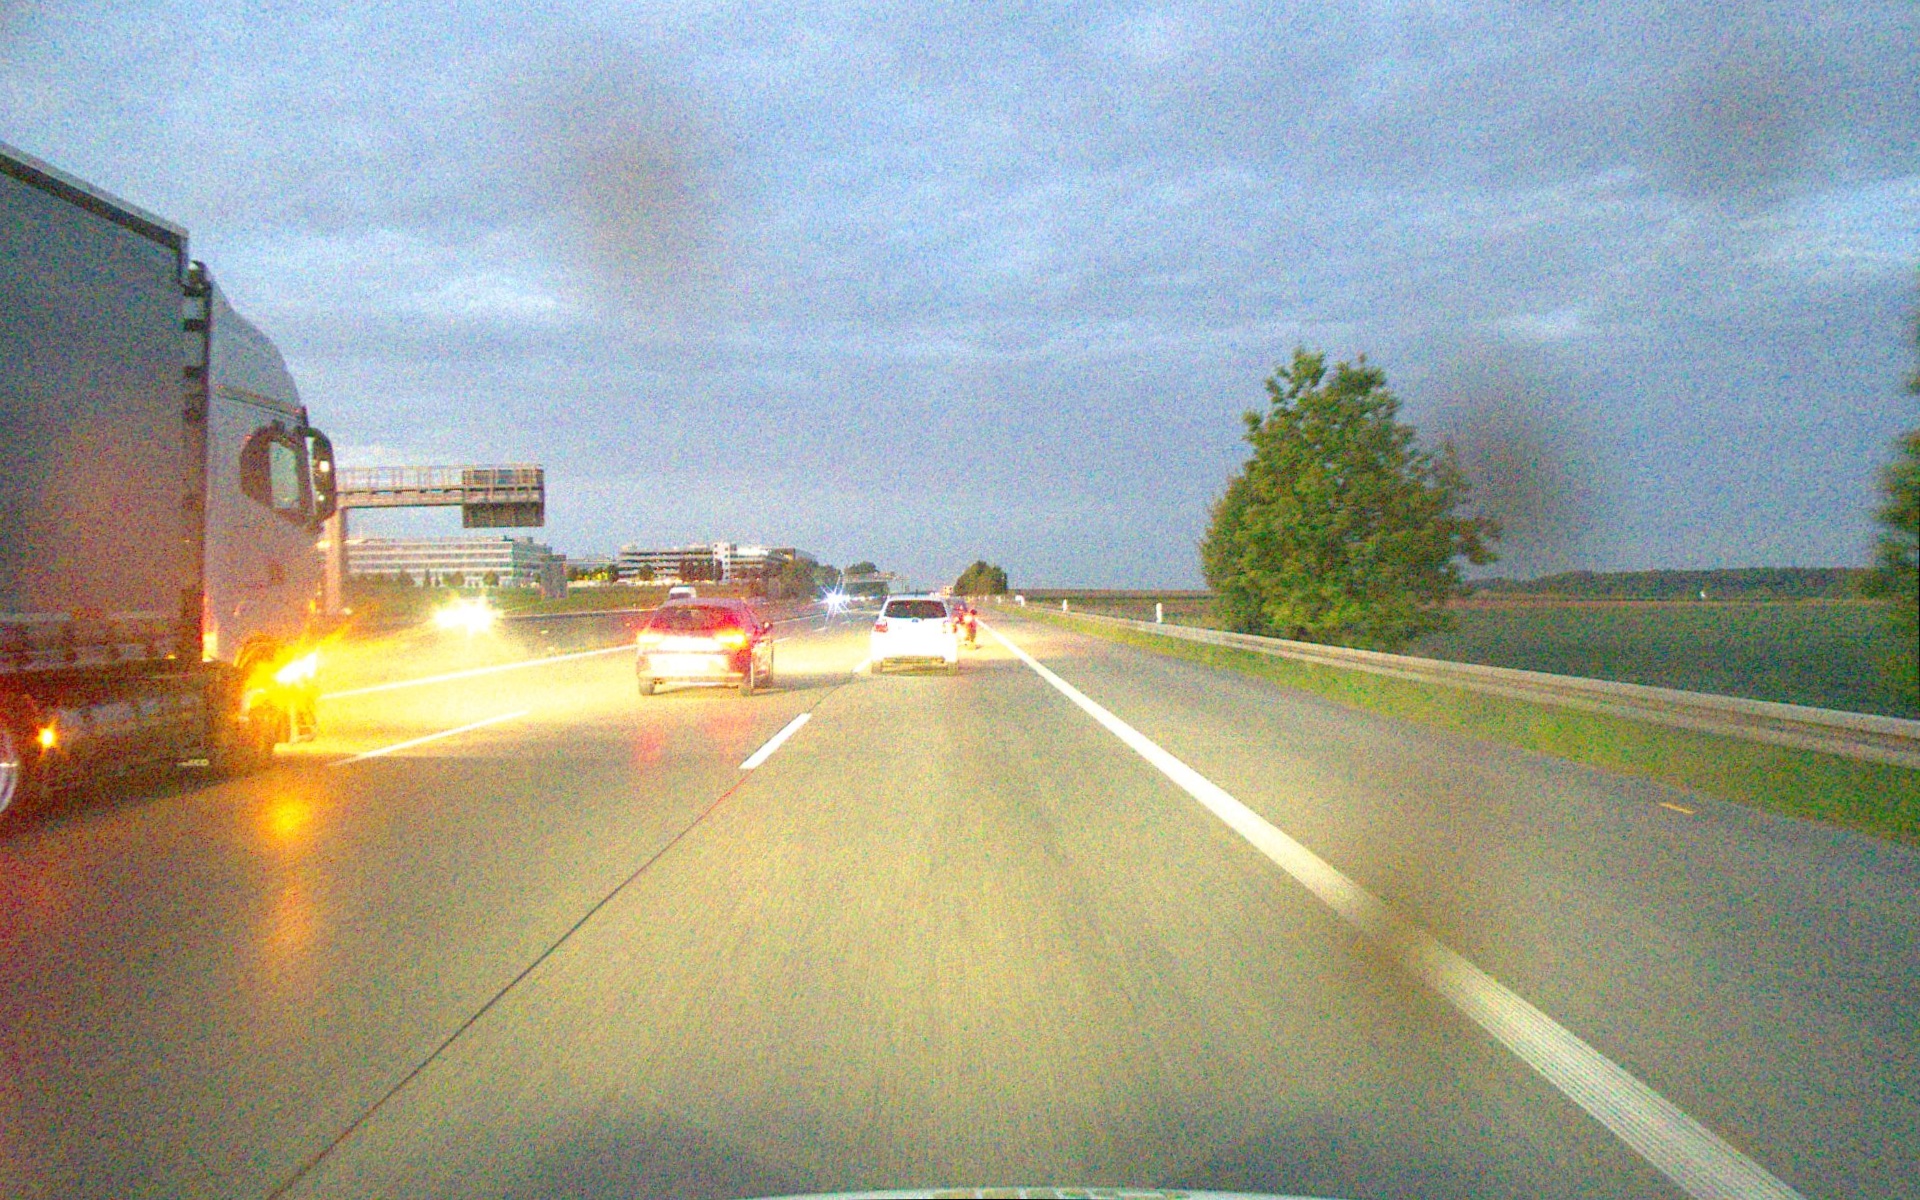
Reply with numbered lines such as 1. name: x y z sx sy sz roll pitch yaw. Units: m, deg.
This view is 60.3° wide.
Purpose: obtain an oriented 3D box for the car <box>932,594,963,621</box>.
1. car: -0.787 0.483 101.540 1.842 1.579 3.999 1 -1 -1

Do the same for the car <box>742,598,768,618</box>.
1. car: -17.252 0.678 139.238 1.664 1.645 4.625 1 -1 -1

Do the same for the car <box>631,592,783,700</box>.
1. car: -3.816 0.670 25.679 1.688 1.497 4.725 1 -1 -1

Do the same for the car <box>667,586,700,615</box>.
1. car: -23.850 0.094 142.864 1.953 2.429 5.835 1 -1 -1

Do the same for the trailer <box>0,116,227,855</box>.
1. trailer: -6.778 -0.678 4.892 2.737 4.157 14.524 0 -1 0

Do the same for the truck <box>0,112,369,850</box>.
1. truck: -6.764 -0.643 12.044 2.720 4.164 6.102 0 -1 0

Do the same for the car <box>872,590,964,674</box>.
1. car: -0.792 0.613 33.289 1.708 1.551 4.413 1 -1 0

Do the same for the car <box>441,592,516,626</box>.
1. car: -23.295 0.461 80.291 1.953 1.548 5.835 1 -1 -1

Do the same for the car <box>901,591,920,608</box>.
1. car: -5.771 -0.088 193.585 2.154 1.912 3.999 1 -1 -1

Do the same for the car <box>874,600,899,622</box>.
1. car: -5.551 0.822 125.291 1.842 1.579 3.999 1 -1 -1

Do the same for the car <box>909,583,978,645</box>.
1. car: -0.475 0.396 46.853 1.842 1.672 3.999 1 -1 -1
